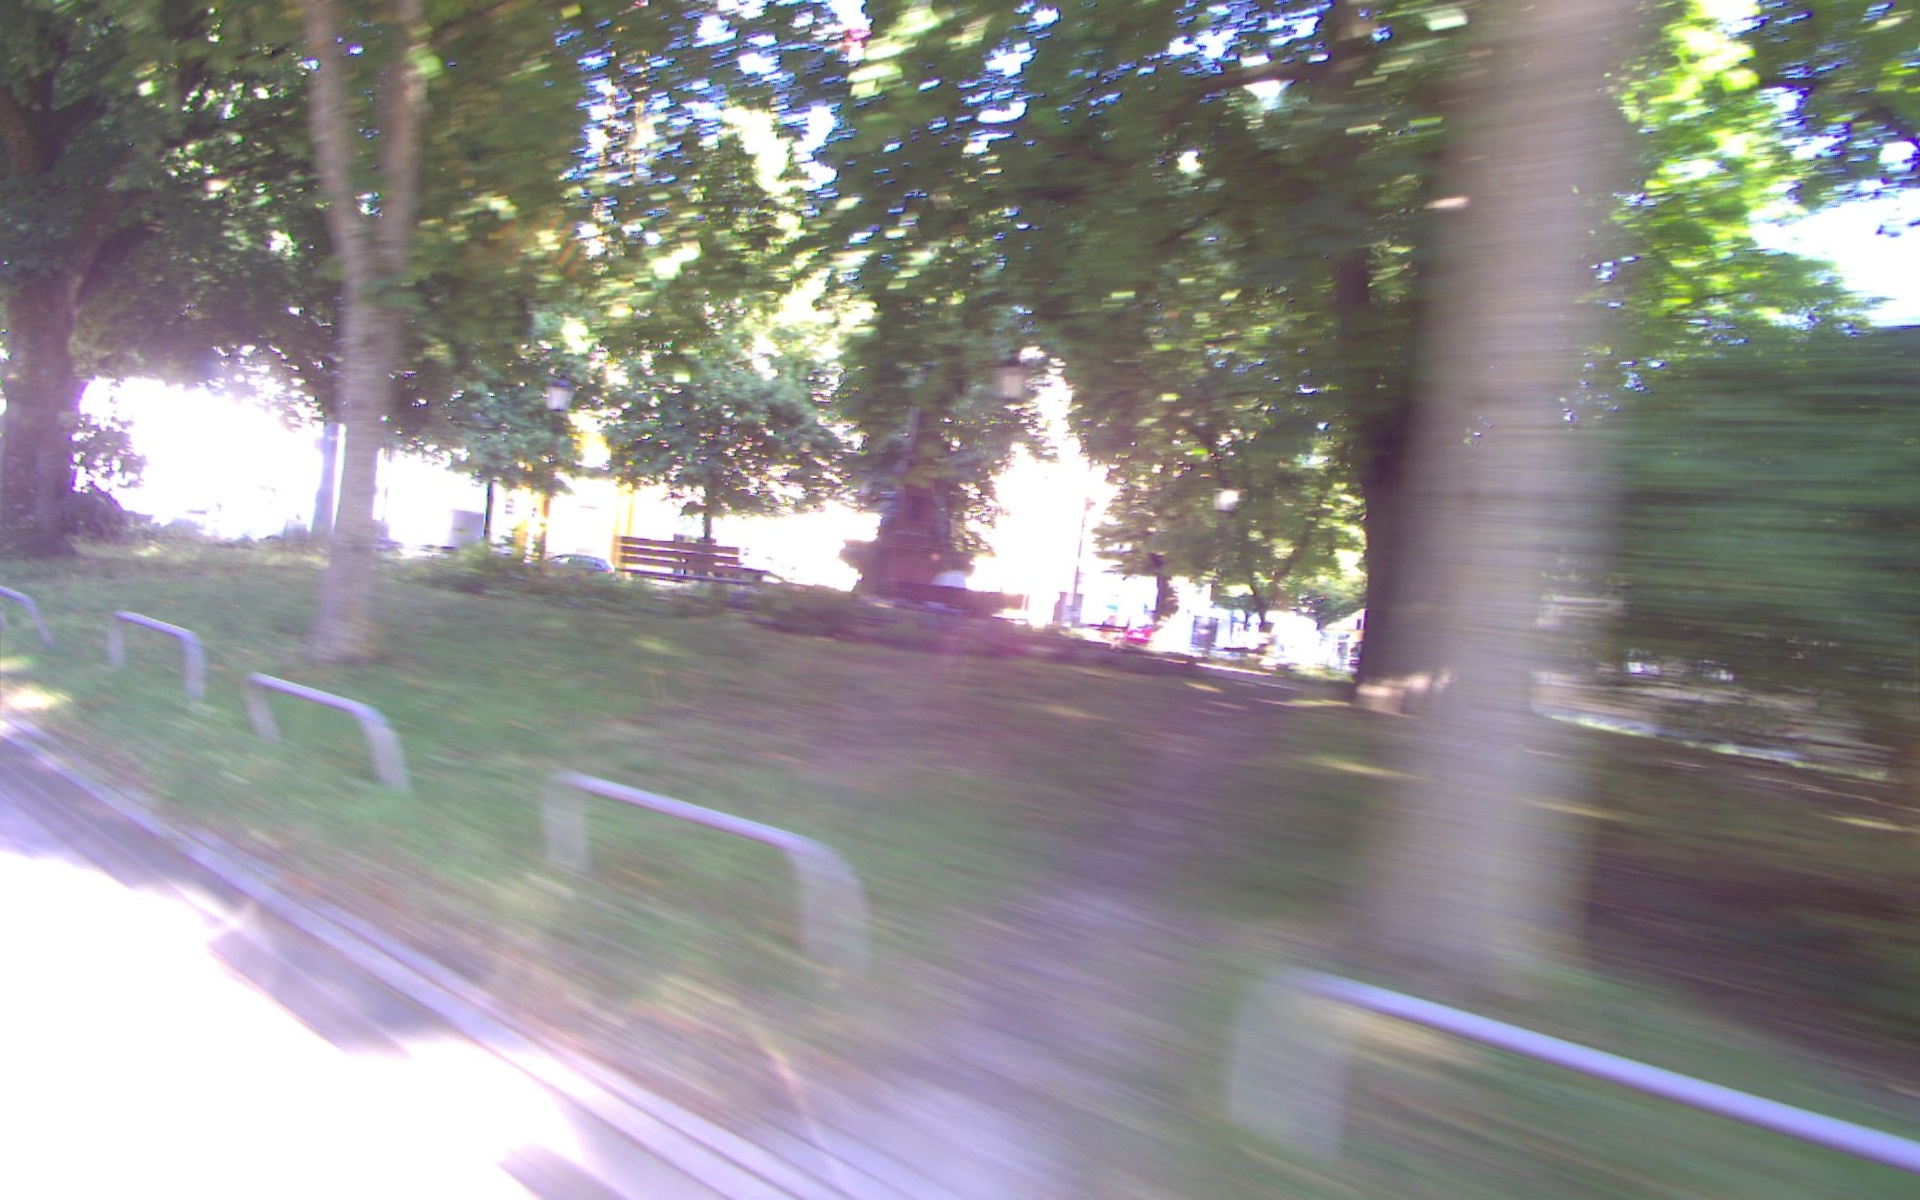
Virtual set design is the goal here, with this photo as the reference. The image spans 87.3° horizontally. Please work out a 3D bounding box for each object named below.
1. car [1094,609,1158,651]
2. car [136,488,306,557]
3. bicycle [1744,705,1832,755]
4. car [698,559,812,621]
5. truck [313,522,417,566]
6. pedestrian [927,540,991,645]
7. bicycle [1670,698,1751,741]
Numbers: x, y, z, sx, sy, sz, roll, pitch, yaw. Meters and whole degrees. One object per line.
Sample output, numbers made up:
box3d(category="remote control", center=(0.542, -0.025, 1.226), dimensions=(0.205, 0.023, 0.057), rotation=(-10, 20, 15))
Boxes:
box3d(category="car", center=(9.278, 1.653, 56.567), dimensions=(1.968, 1.945, 4.060), rotation=(7, 0, -14))
box3d(category="car", center=(-28.636, -2.953, 39.212), dimensions=(4.838, 1.877, 1.989), rotation=(8, 0, -23))
box3d(category="bicycle", center=(22.722, 3.561, 27.650), dimensions=(0.710, 1.046, 1.761), rotation=(6, 1, -7))
box3d(category="car", center=(-7.673, -0.351, 37.768), dimensions=(3.934, 1.815, 1.997), rotation=(7, -1, -12))
box3d(category="truck", center=(-30.449, -2.833, 51.579), dimensions=(4.031, 1.605, 1.995), rotation=(8, 0, -12))
box3d(category="pedestrian", center=(-0.006, -0.105, 13.841), dimensions=(0.669, 1.335, 0.695), rotation=(6, 2, 6))
box3d(category="bicycle", center=(21.845, 3.473, 29.323), dimensions=(0.511, 0.971, 1.742), rotation=(5, 2, -38))
